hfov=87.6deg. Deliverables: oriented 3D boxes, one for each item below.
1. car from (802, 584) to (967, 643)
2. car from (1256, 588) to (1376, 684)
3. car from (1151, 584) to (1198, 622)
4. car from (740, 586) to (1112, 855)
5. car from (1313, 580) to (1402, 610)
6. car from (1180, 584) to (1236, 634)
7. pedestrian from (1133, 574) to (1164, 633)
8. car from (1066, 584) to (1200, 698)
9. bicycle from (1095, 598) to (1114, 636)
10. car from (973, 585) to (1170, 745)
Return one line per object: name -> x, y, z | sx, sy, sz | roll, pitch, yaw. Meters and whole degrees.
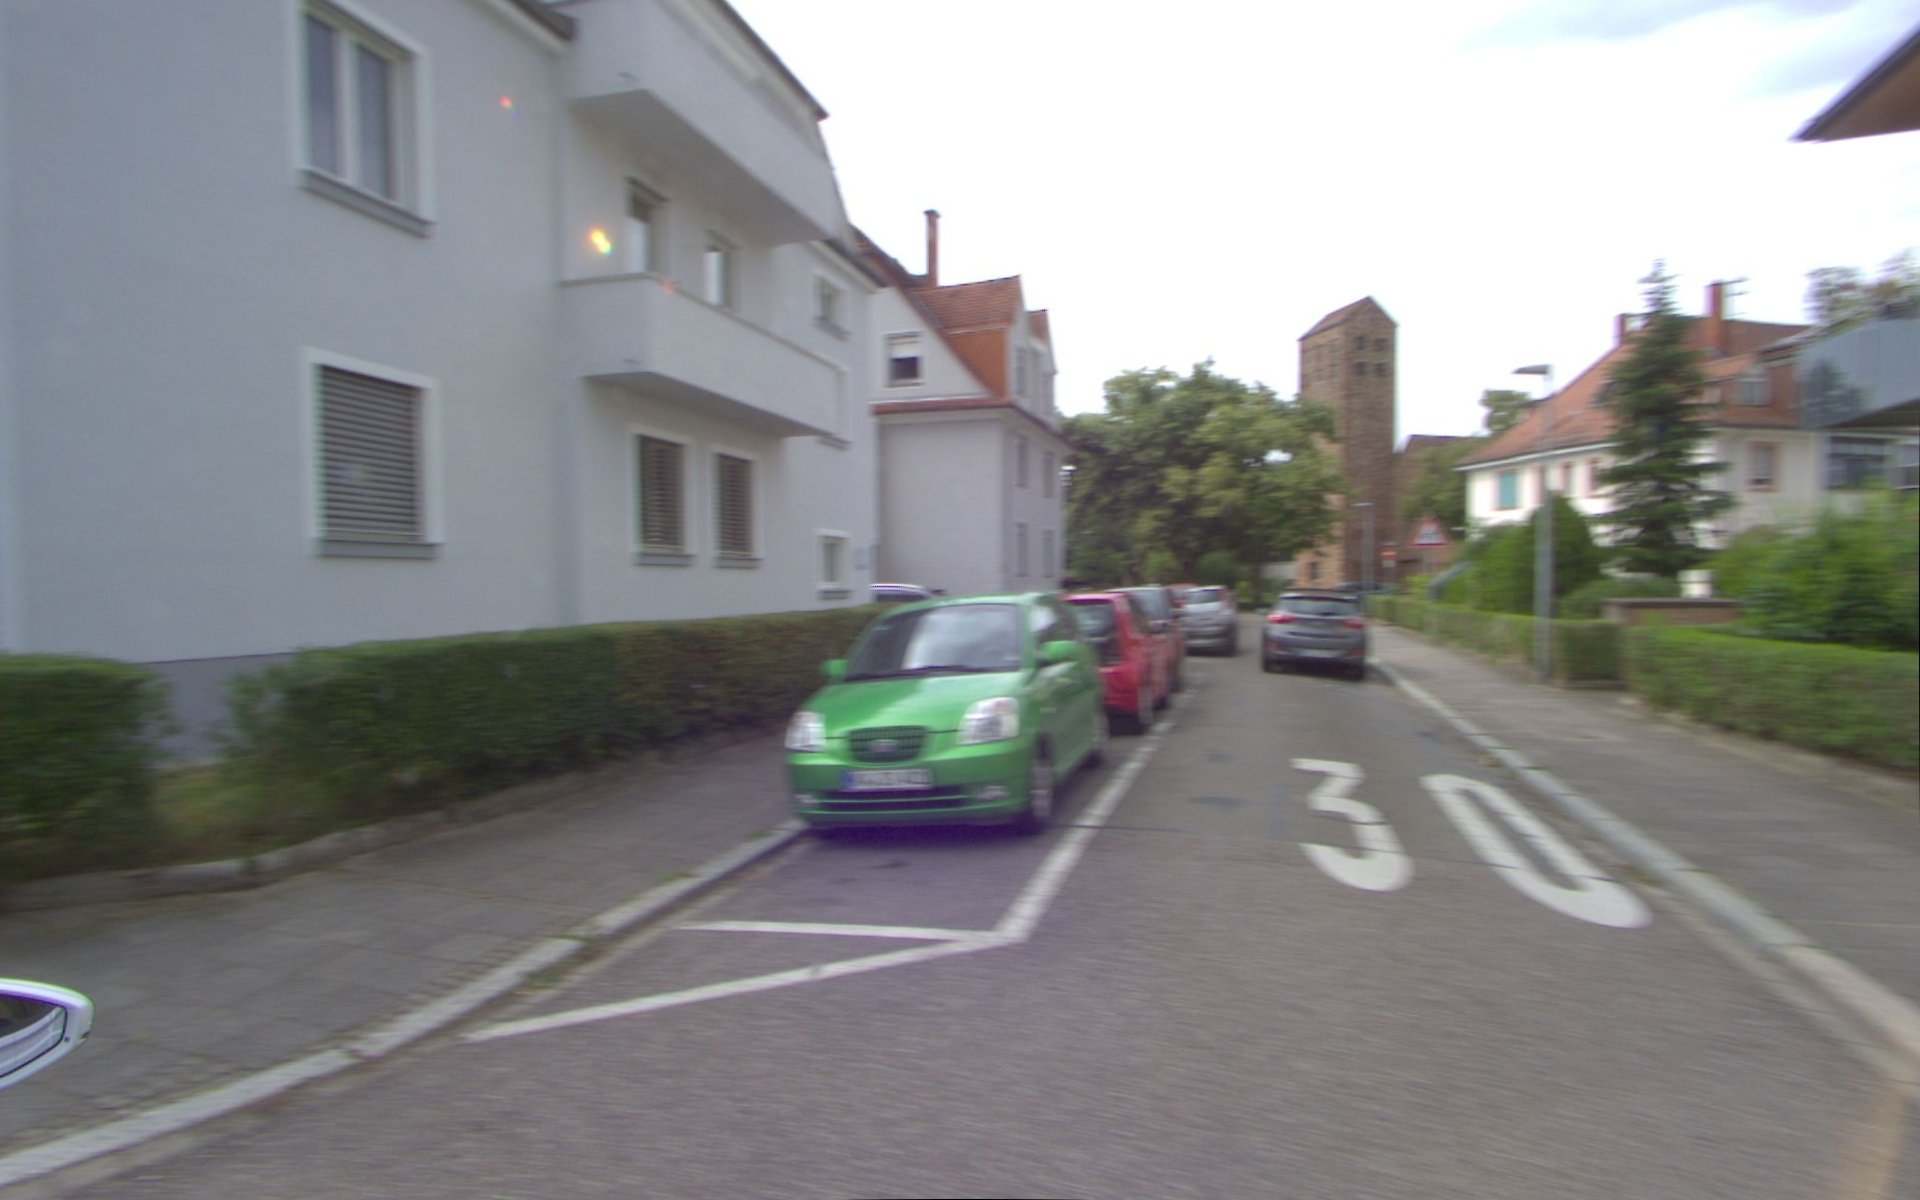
car -> -1.968, 0.321, 26.646 | 3.928, 1.484, 1.996 | 0, 1, 18
car -> 6.456, 0.569, 18.529 | 1.821, 1.501, 4.034 | 2, 1, 16
car -> 9.210, 0.122, 43.238 | 1.619, 1.515, 3.480 | -3, 0, 7
car -> 0.021, 0.672, 7.241 | 1.621, 1.440, 3.476 | -3, 0, 16
car -> 20.476, -0.260, 51.732 | 4.151, 1.484, 1.680 | 0, 3, 17
car -> 8.309, 0.270, 33.361 | 1.621, 1.515, 3.476 | -3, 0, 16
pedestrian -> 6.254, 0.114, 33.193 | 0.868, 1.904, 1.076 | 0, 2, 17
car -> 2.788, 0.563, 15.600 | 1.621, 1.515, 3.476 | -3, 0, 16
bicycle -> 4.445, 0.504, 30.720 | 0.415, 1.118, 2.113 | 0, 1, 13
car -> 1.429, 0.640, 11.540 | 1.621, 1.515, 3.476 | -3, 0, 16
